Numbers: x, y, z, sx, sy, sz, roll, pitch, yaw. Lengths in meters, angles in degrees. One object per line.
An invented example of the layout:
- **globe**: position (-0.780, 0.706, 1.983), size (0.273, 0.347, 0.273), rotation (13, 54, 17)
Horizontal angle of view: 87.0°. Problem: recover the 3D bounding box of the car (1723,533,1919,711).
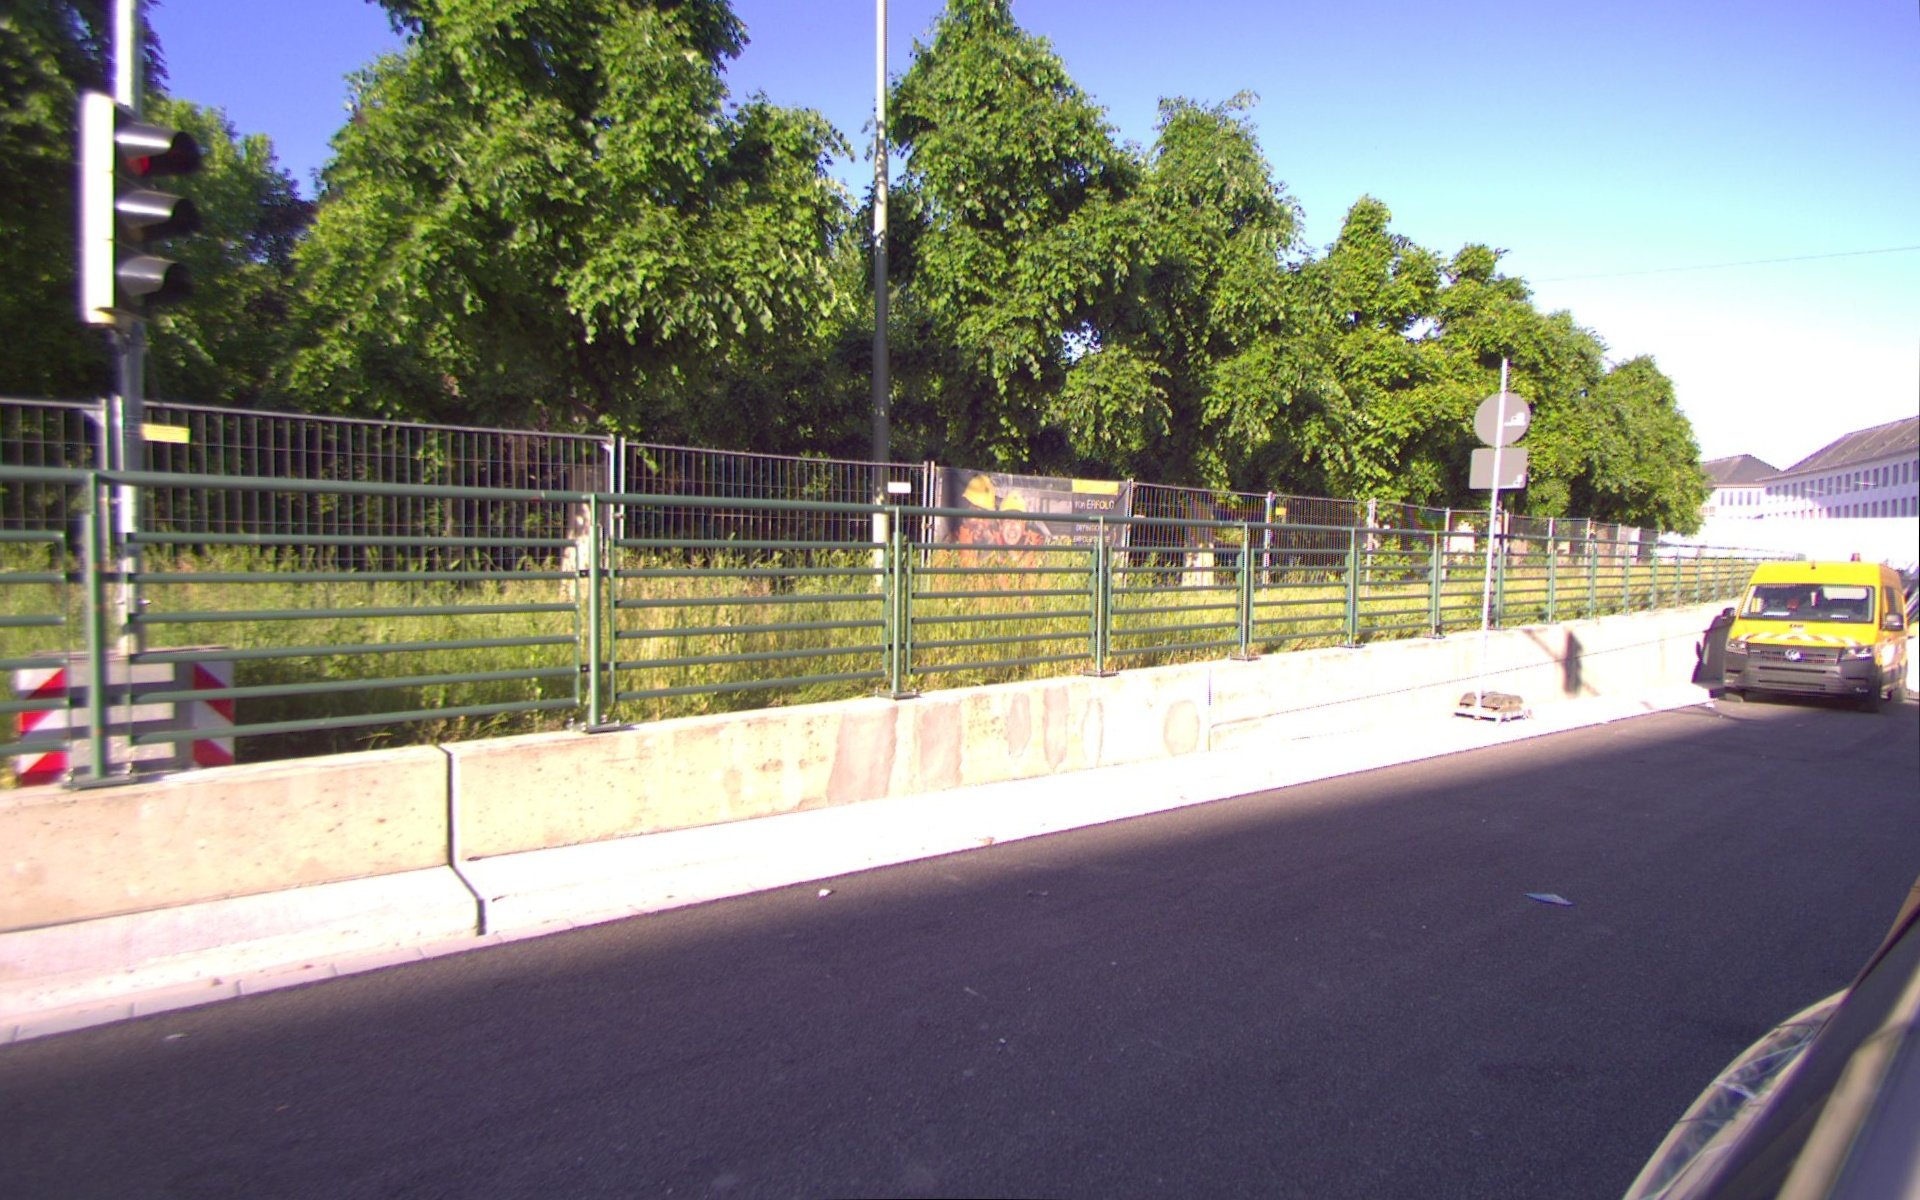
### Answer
- **car**: position (15.762, 0.350, 18.251), size (6.870, 2.657, 2.114), rotation (1, 0, -44)
